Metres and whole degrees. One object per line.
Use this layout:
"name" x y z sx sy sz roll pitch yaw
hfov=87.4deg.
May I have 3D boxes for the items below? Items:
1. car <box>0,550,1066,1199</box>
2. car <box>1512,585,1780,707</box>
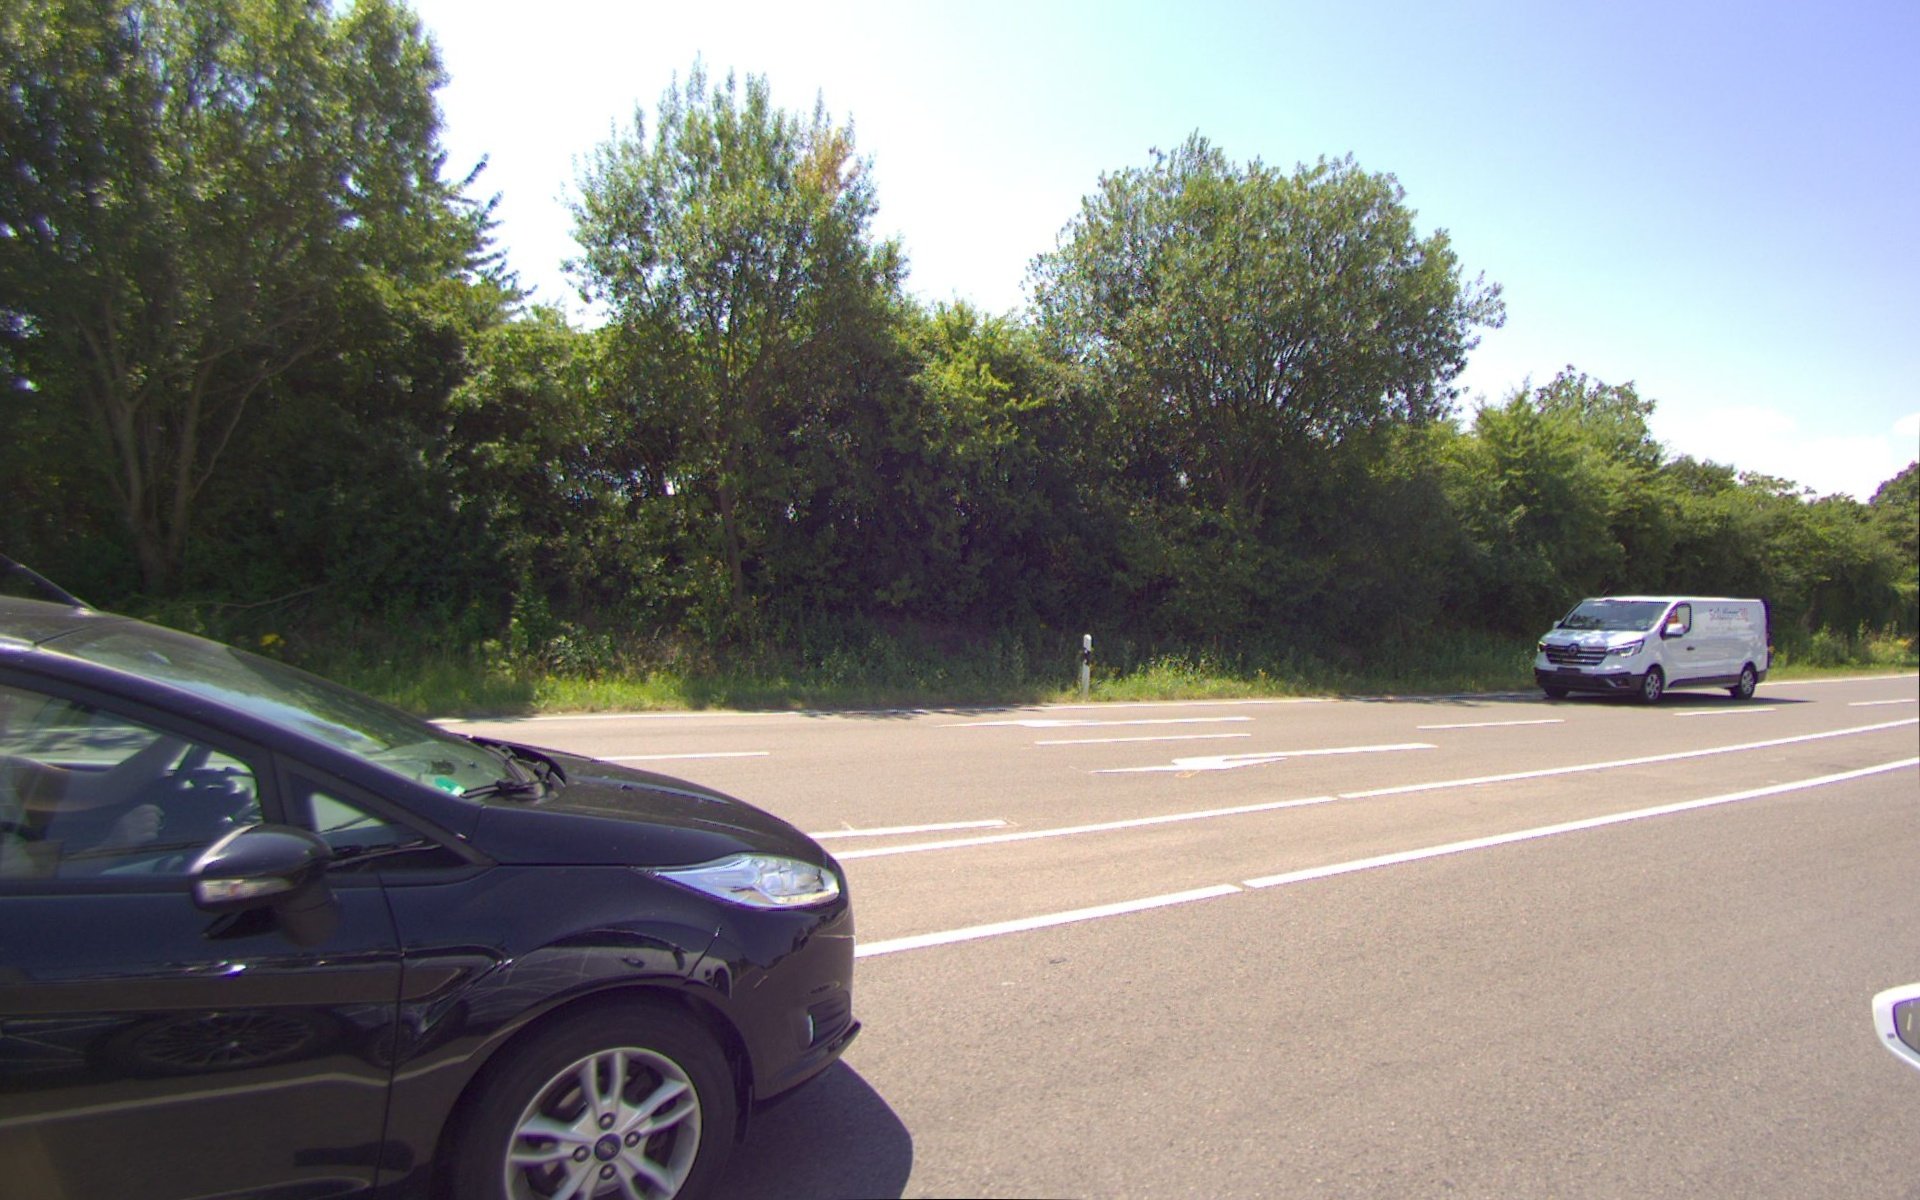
"car" -1.945 0.659 2.265 4.156 1.514 1.646 0 1 -29
"car" 13.362 0.813 19.458 5.740 2.041 2.065 1 1 -31
